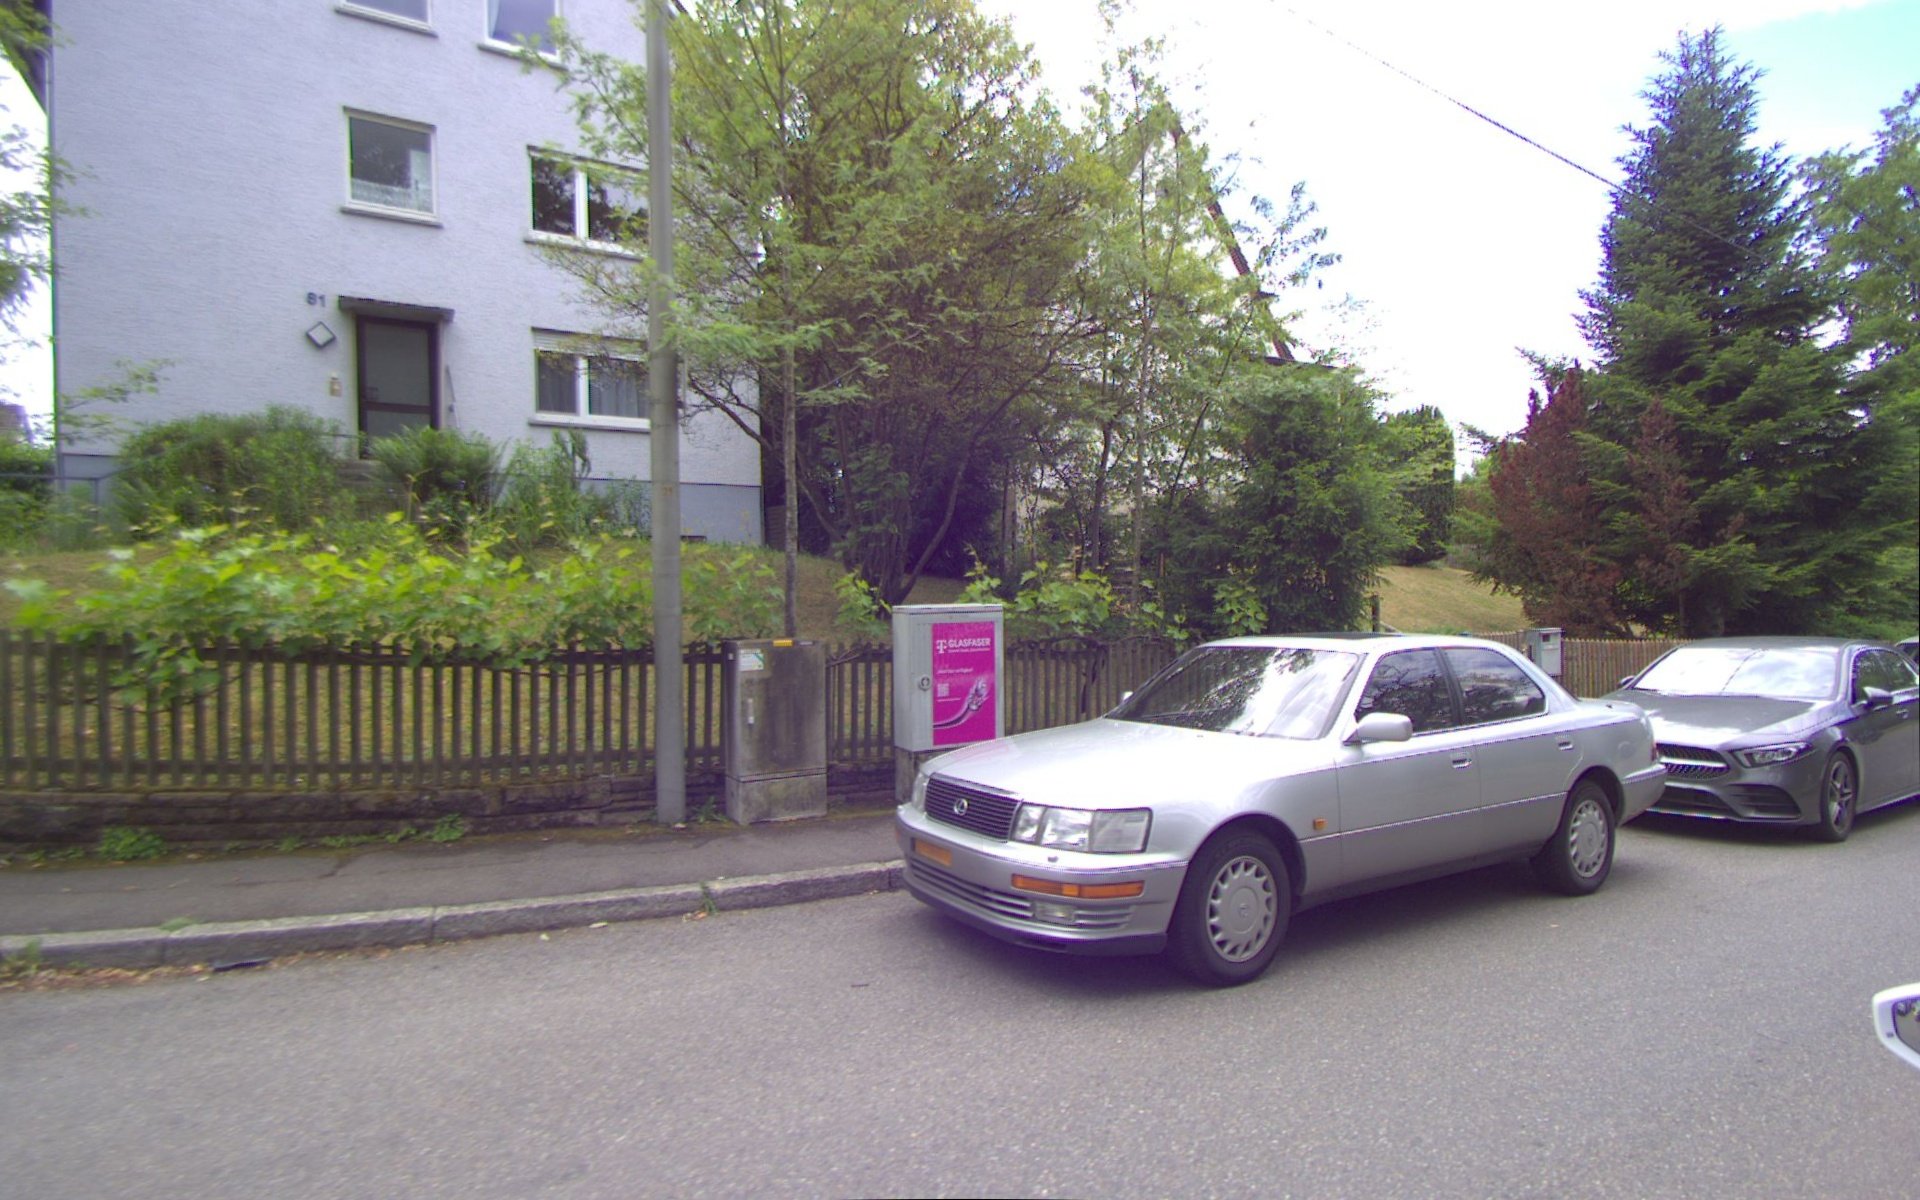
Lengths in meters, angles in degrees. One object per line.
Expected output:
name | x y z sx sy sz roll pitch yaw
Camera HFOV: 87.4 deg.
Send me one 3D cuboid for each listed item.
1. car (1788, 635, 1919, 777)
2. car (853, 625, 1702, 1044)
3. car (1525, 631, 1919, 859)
car | 11.532 1.139 11.547 4.069 1.458 1.826 1 -2 -31
car | 1.991 0.888 5.604 4.856 1.458 1.838 1 -2 -32
car | 6.688 1.002 8.371 4.217 1.458 1.724 1 -2 -33
